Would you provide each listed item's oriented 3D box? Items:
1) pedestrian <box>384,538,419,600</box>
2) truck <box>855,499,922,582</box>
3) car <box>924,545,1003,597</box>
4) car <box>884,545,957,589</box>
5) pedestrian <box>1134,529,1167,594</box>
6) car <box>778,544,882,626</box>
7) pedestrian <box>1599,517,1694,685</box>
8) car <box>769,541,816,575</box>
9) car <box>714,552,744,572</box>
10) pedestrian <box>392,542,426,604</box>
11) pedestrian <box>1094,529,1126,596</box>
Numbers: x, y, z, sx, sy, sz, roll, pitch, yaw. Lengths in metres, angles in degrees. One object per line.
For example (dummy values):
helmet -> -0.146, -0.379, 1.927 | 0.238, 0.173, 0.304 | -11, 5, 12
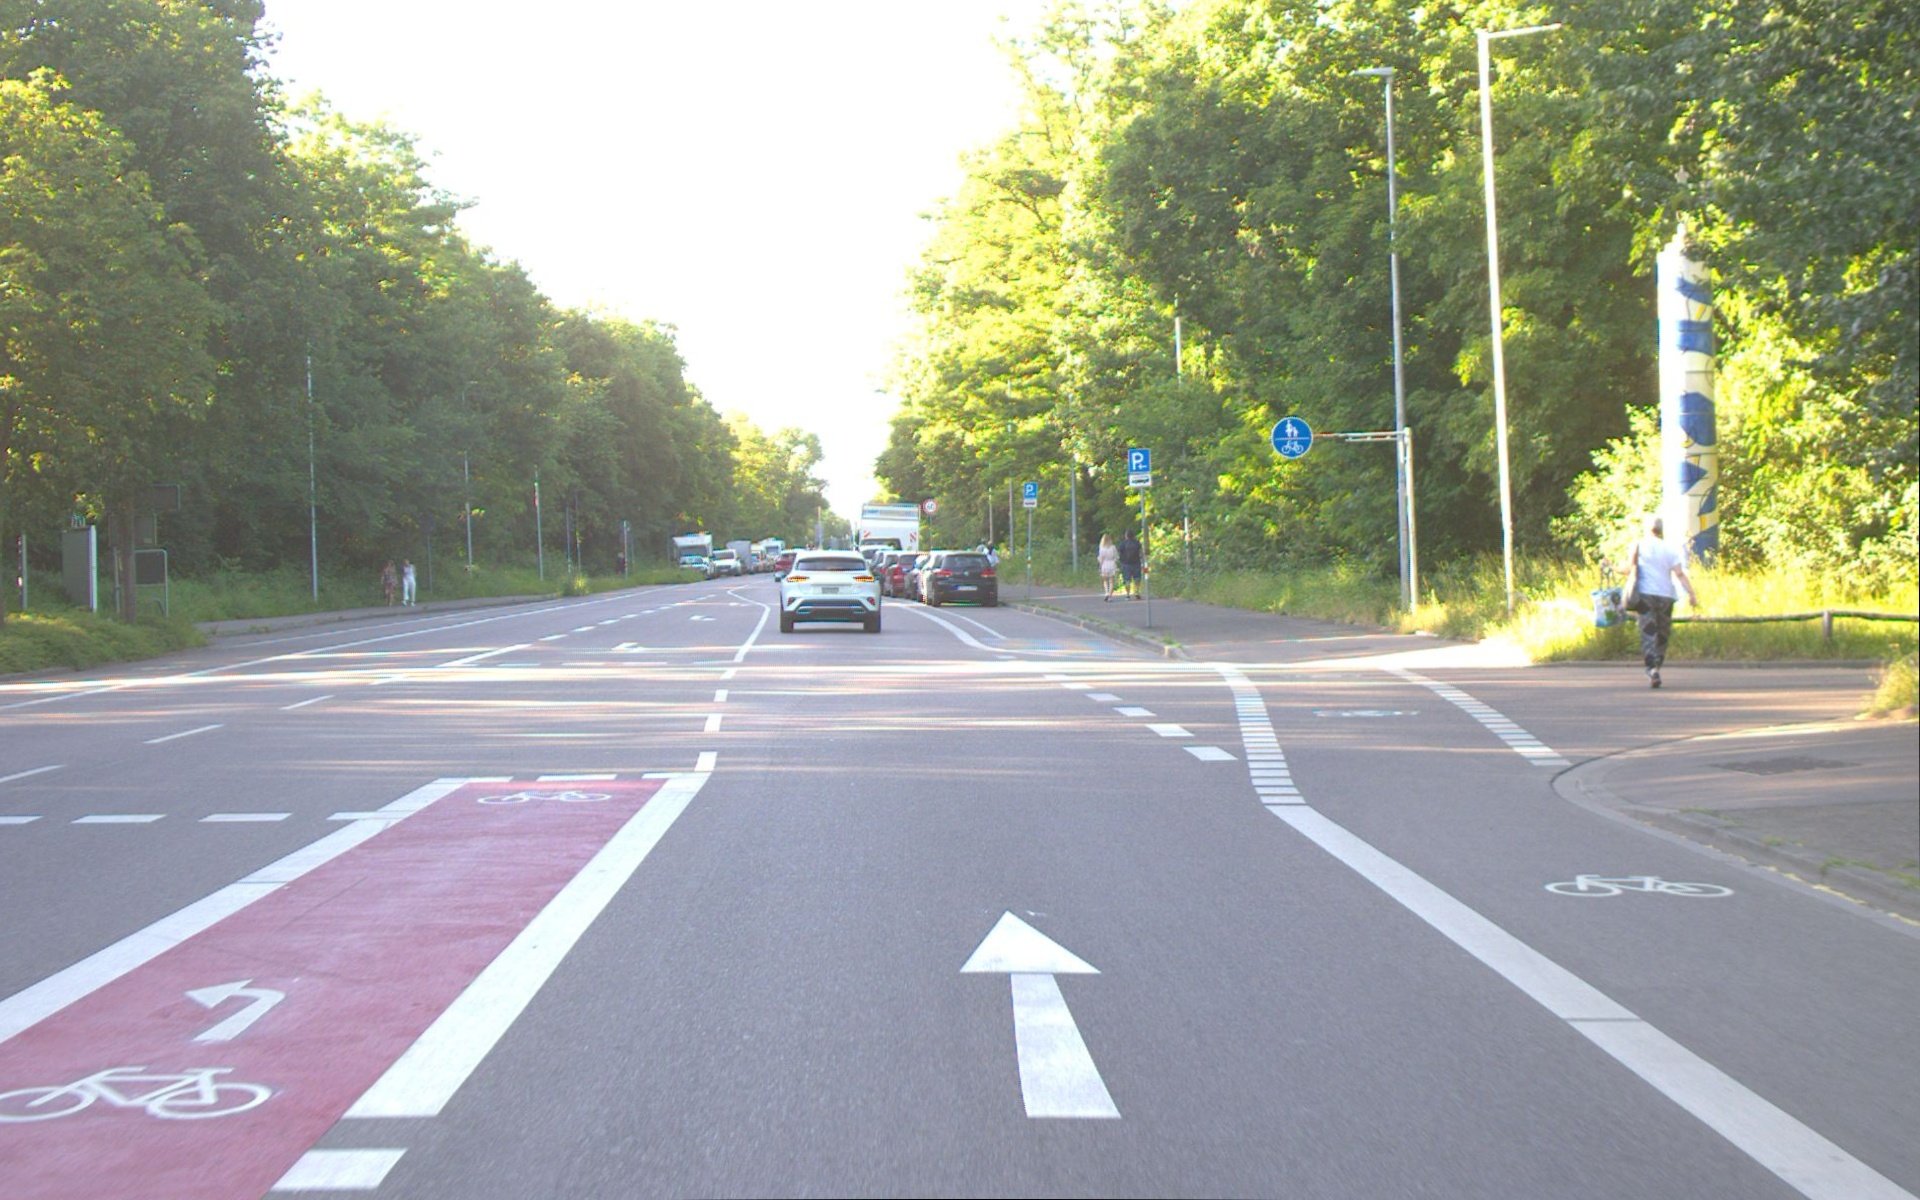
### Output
pedestrian -> -18.355, -1.017, 113.007 | 0.863, 2.007, 1.269 | -1, 1, 1
truck -> -3.206, -2.626, 152.129 | 2.799, 3.558, 8.036 | 0, 1, -2
car -> 0.067, -0.803, 92.707 | 1.993, 1.322, 4.000 | -2, 1, -1
car -> -1.258, -1.050, 108.396 | 1.993, 1.322, 4.001 | -2, 1, -4
pedestrian -> 4.767, -0.964, 86.098 | 0.743, 1.593, 0.798 | -2, 1, -1
car -> -2.420, -0.293, 63.172 | 1.761, 1.454, 3.818 | 0, 1, -4
pedestrian -> 6.509, 0.003, 32.622 | 0.755, 1.558, 0.802 | -1, 1, 4
car -> -7.775, -1.944, 159.972 | 1.993, 1.514, 4.000 | -1, 1, 0
car -> -16.038, -2.633, 238.938 | 1.993, 1.322, 4.001 | -2, 1, -3
pedestrian -> -18.063, -0.899, 112.691 | 0.831, 2.007, 1.269 | -2, 1, 1
pedestrian -> 3.752, -0.944, 86.064 | 0.698, 1.647, 0.876 | -2, 1, -1
